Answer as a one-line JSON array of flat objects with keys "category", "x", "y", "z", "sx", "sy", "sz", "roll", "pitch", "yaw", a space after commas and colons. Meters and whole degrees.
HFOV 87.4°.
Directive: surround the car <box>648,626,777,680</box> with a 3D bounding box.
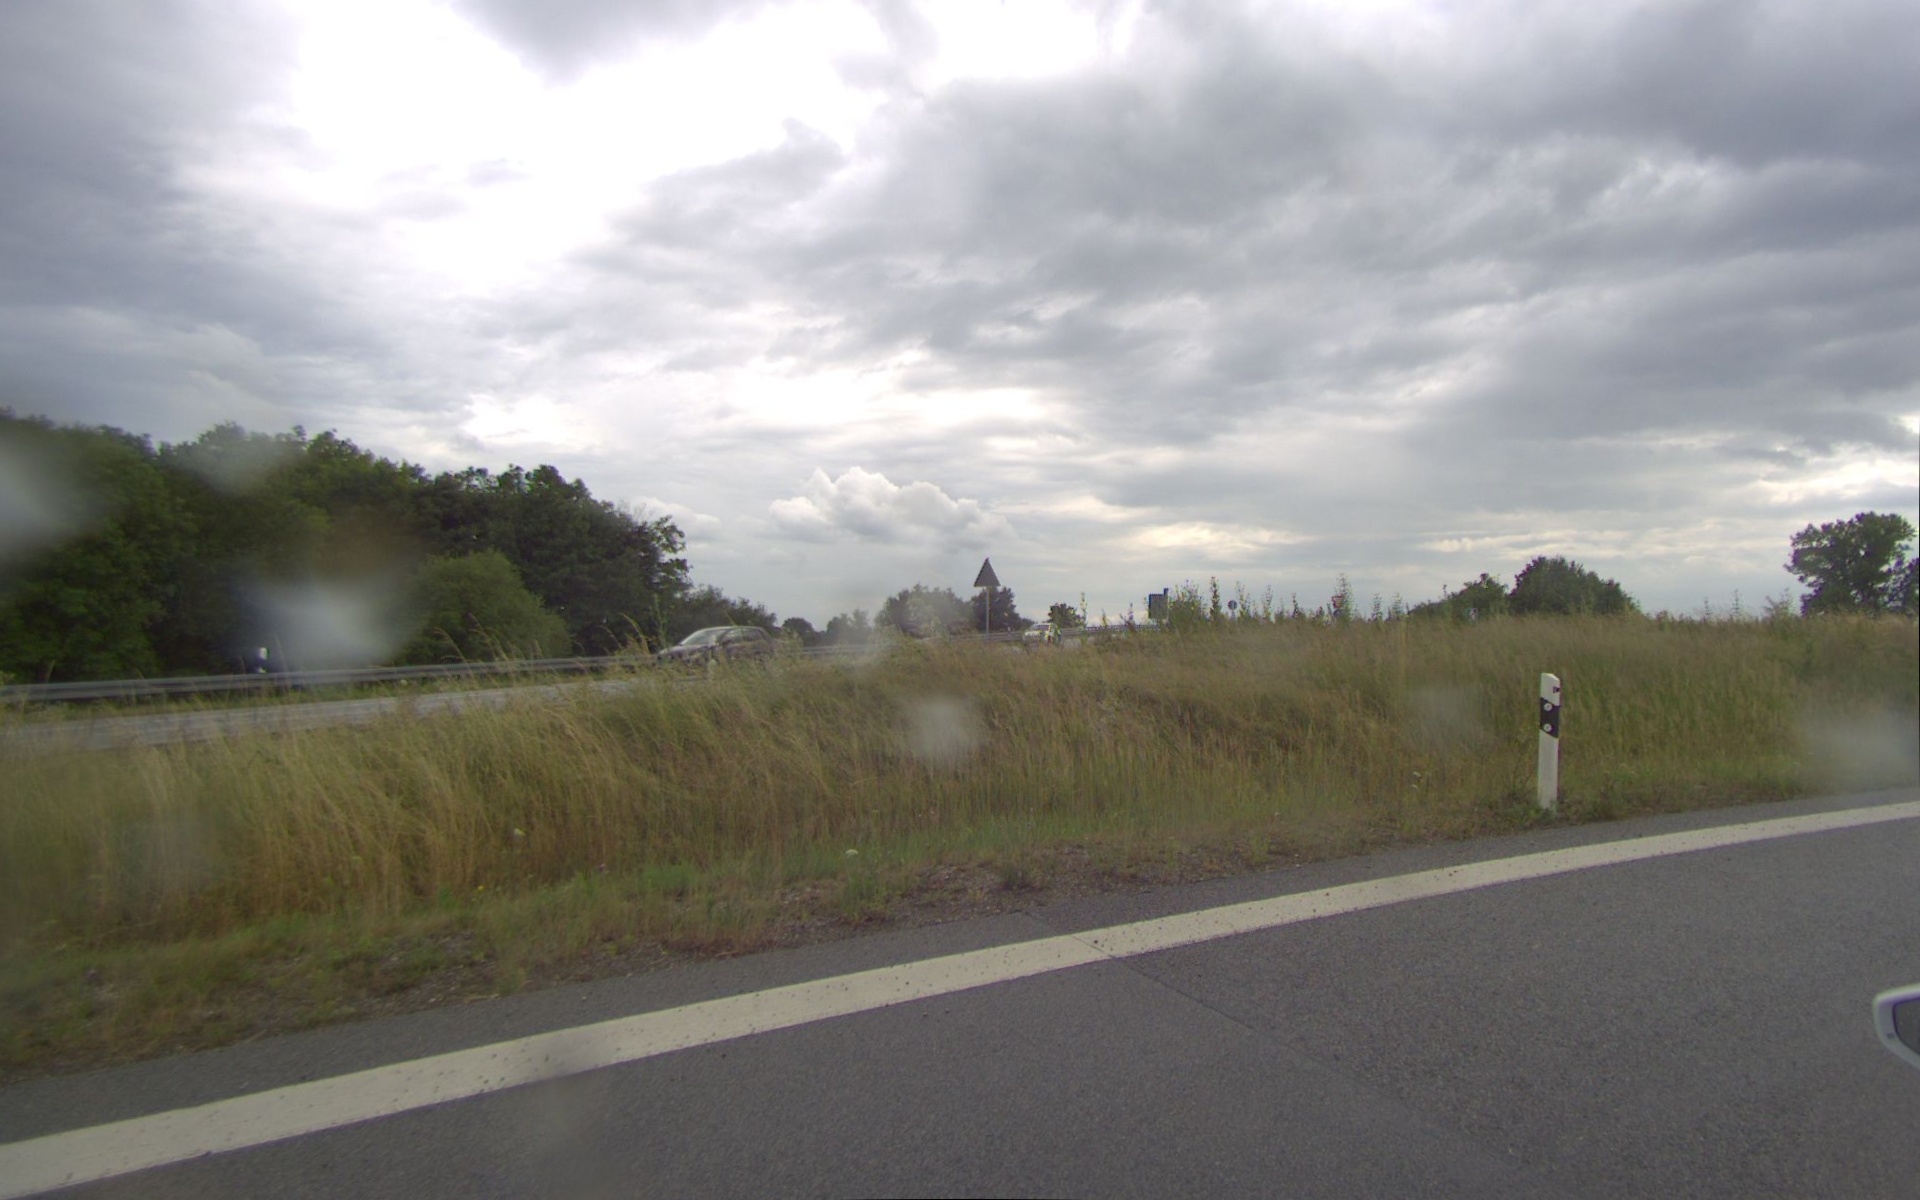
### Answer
[{"category": "car", "x": -6.871, "y": 1.436, "z": 28.214, "sx": 1.452, "sy": 1.368, "sz": 3.710, "roll": 1, "pitch": -1, "yaw": 27}]
